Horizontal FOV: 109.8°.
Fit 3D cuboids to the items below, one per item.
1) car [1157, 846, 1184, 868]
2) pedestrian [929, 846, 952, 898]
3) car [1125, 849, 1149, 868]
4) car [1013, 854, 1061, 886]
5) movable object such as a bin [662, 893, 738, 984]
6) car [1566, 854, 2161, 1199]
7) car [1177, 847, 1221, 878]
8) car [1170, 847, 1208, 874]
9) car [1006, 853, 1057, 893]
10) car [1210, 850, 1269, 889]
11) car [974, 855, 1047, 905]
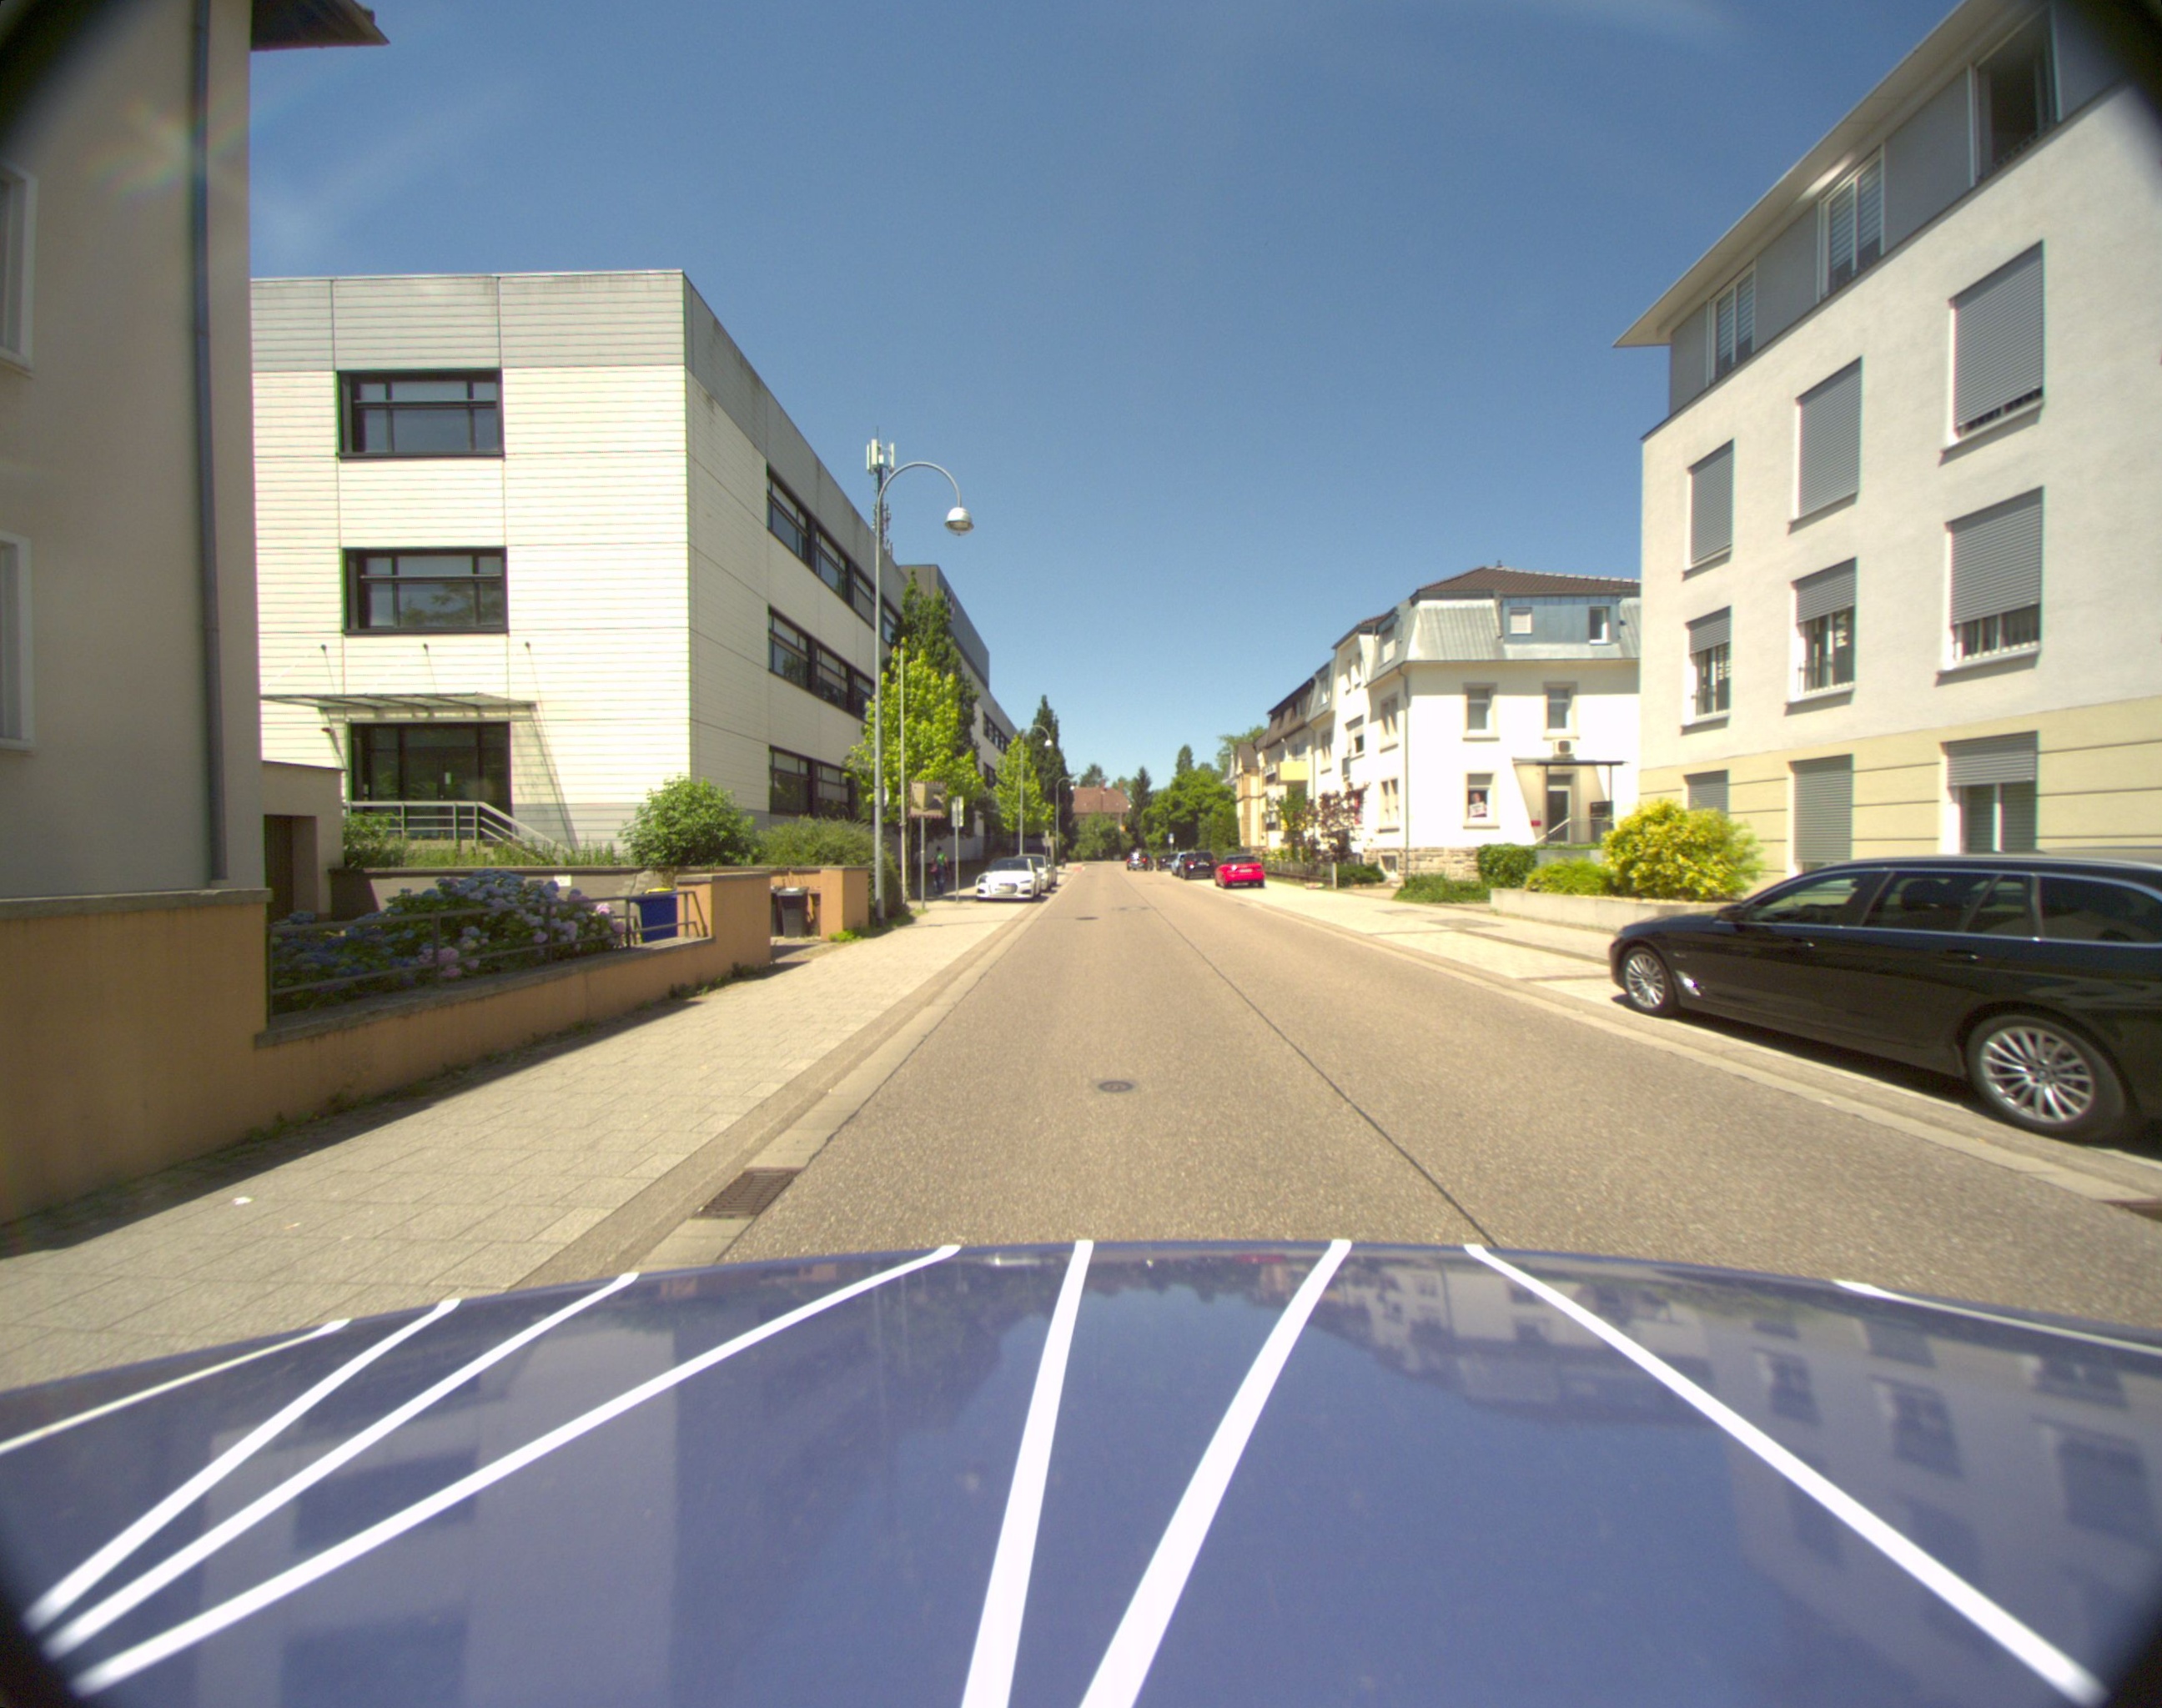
[{"bbox_3d":[7.497,0.240,64.065,1.925,1.681,4.287,-3,1,3],"label":"car"},{"bbox_3d":[-4.771,0.596,25.741,0.681,1.690,1.048,1,1,-15],"label":"pedestrian"},{"bbox_3d":[4.958,0.376,67.853,1.925,1.668,4.287,0,1,2],"label":"car"},{"bbox_3d":[-2.027,0.727,35.860,1.841,1.357,4.000,1,1,3],"label":"car"},{"bbox_3d":[-4.871,1.063,9.740,0.626,1.093,0.633,0,1,4],"label":"movable object such as a bin"},{"bbox_3d":[5.985,0.802,5.354,1.921,1.444,5.149,-3,0,2],"label":"car"},{"bbox_3d":[6.796,0.456,44.169,1.925,1.577,4.435,-3,1,2],"label":"car"},{"bbox_3d":[7.014,0.388,49.682,1.925,1.577,4.287,-3,1,2],"label":"car"},{"bbox_3d":[-1.946,0.714,30.815,1.714,1.490,3.877,1,1,2],"label":"car"},{"bbox_3d":[6.758,0.612,32.872,1.737,1.444,4.260,-3,0,2],"label":"car"},{"bbox_3d":[-2.260,0.790,25.614,1.920,1.460,4.880,1,1,1],"label":"car"}]
